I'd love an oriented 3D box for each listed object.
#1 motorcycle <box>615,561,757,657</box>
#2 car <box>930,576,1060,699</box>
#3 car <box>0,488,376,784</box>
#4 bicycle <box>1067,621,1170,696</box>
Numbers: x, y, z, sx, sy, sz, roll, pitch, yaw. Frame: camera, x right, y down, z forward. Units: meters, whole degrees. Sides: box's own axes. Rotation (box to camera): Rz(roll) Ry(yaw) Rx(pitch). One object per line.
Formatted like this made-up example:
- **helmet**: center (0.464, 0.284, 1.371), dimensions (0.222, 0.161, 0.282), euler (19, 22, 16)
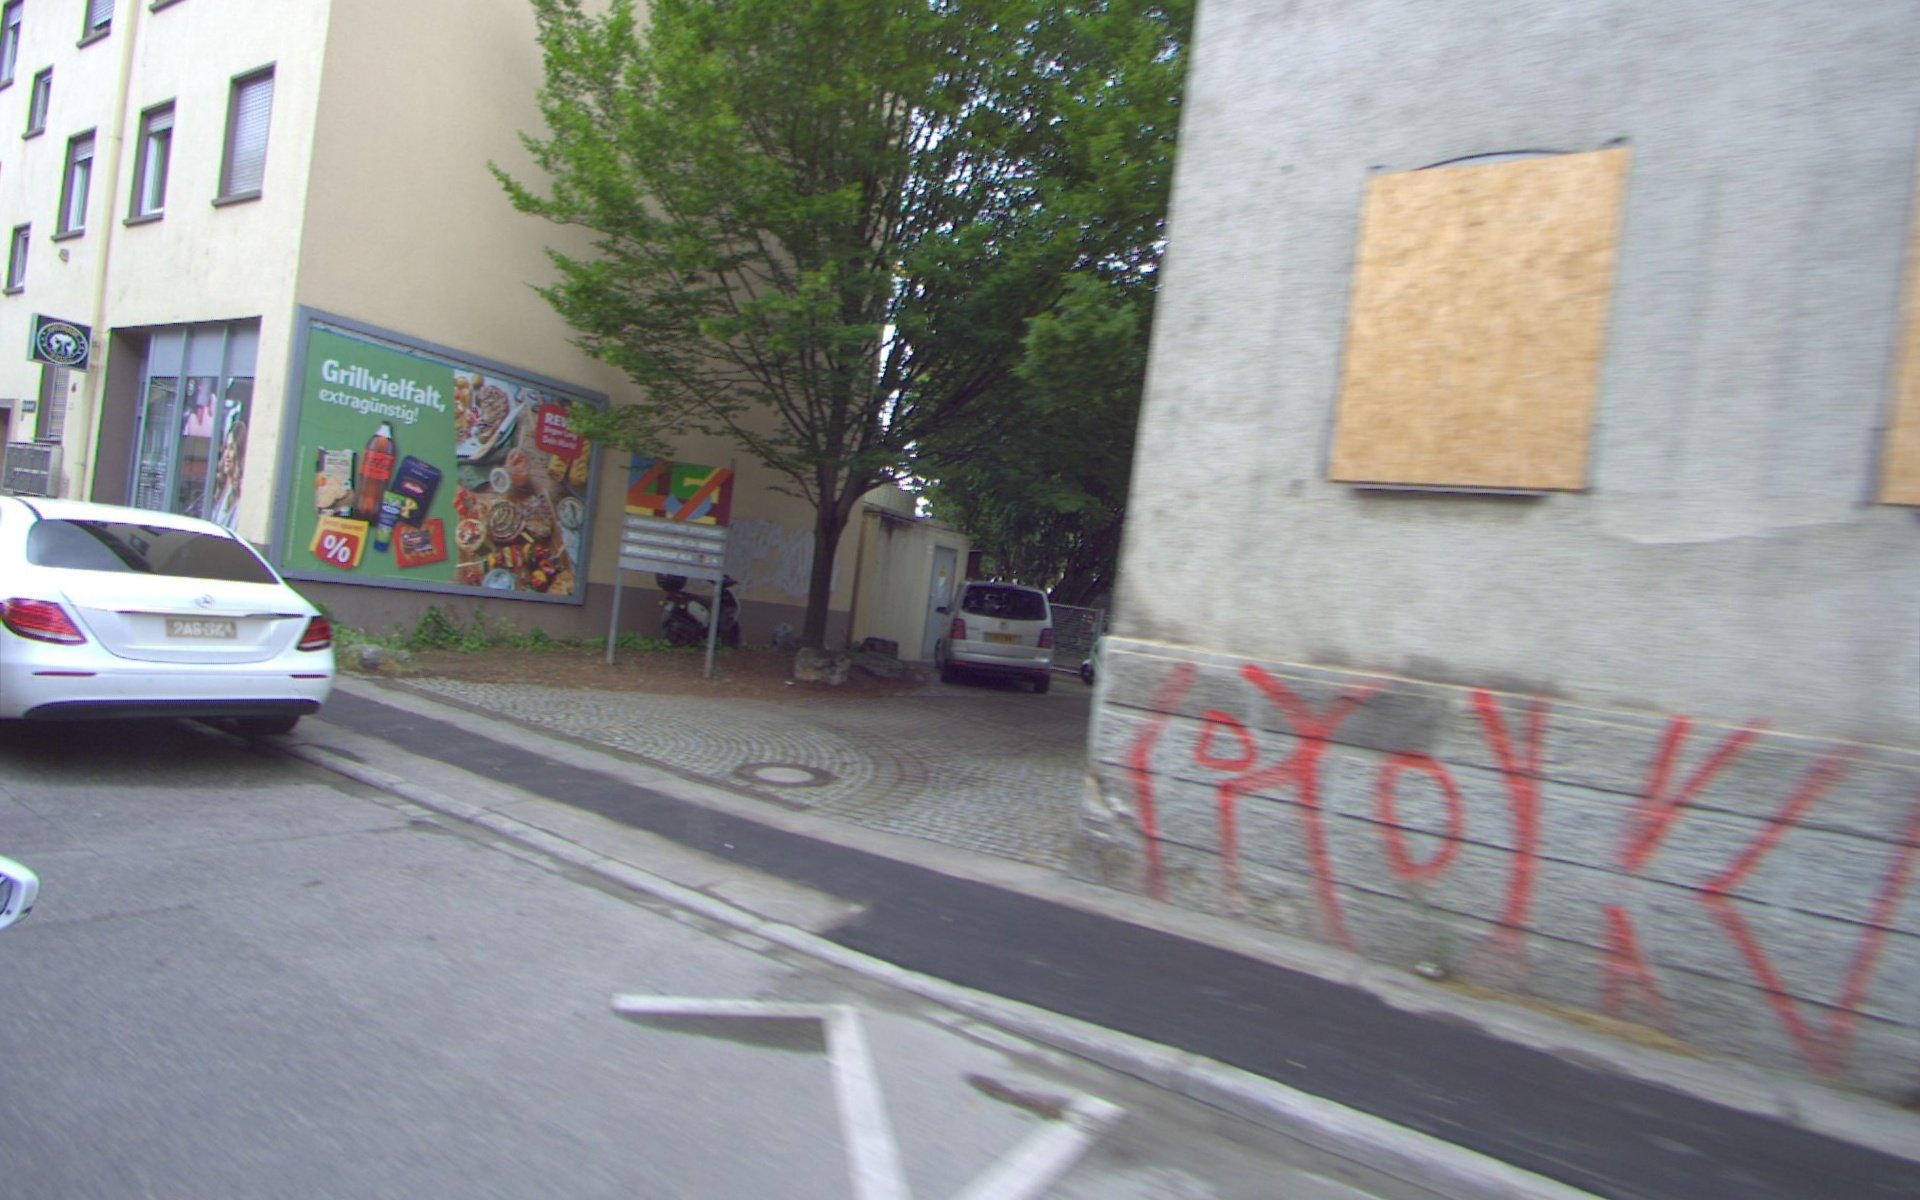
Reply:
- **motorcycle**: center (-3.842, 0.109, 14.276), dimensions (0.663, 1.218, 1.992), euler (7, 4, 30)
- **car**: center (0.467, 0.555, 16.831), dimensions (1.636, 1.629, 3.830), euler (7, 0, -4)
- **car**: center (-6.257, 0.028, 7.084), dimensions (4.707, 1.483, 1.769), euler (7, -1, 35)
- **bicycle**: center (2.790, 1.017, 17.940), dimensions (0.453, 1.125, 1.882), euler (8, -1, -39)
